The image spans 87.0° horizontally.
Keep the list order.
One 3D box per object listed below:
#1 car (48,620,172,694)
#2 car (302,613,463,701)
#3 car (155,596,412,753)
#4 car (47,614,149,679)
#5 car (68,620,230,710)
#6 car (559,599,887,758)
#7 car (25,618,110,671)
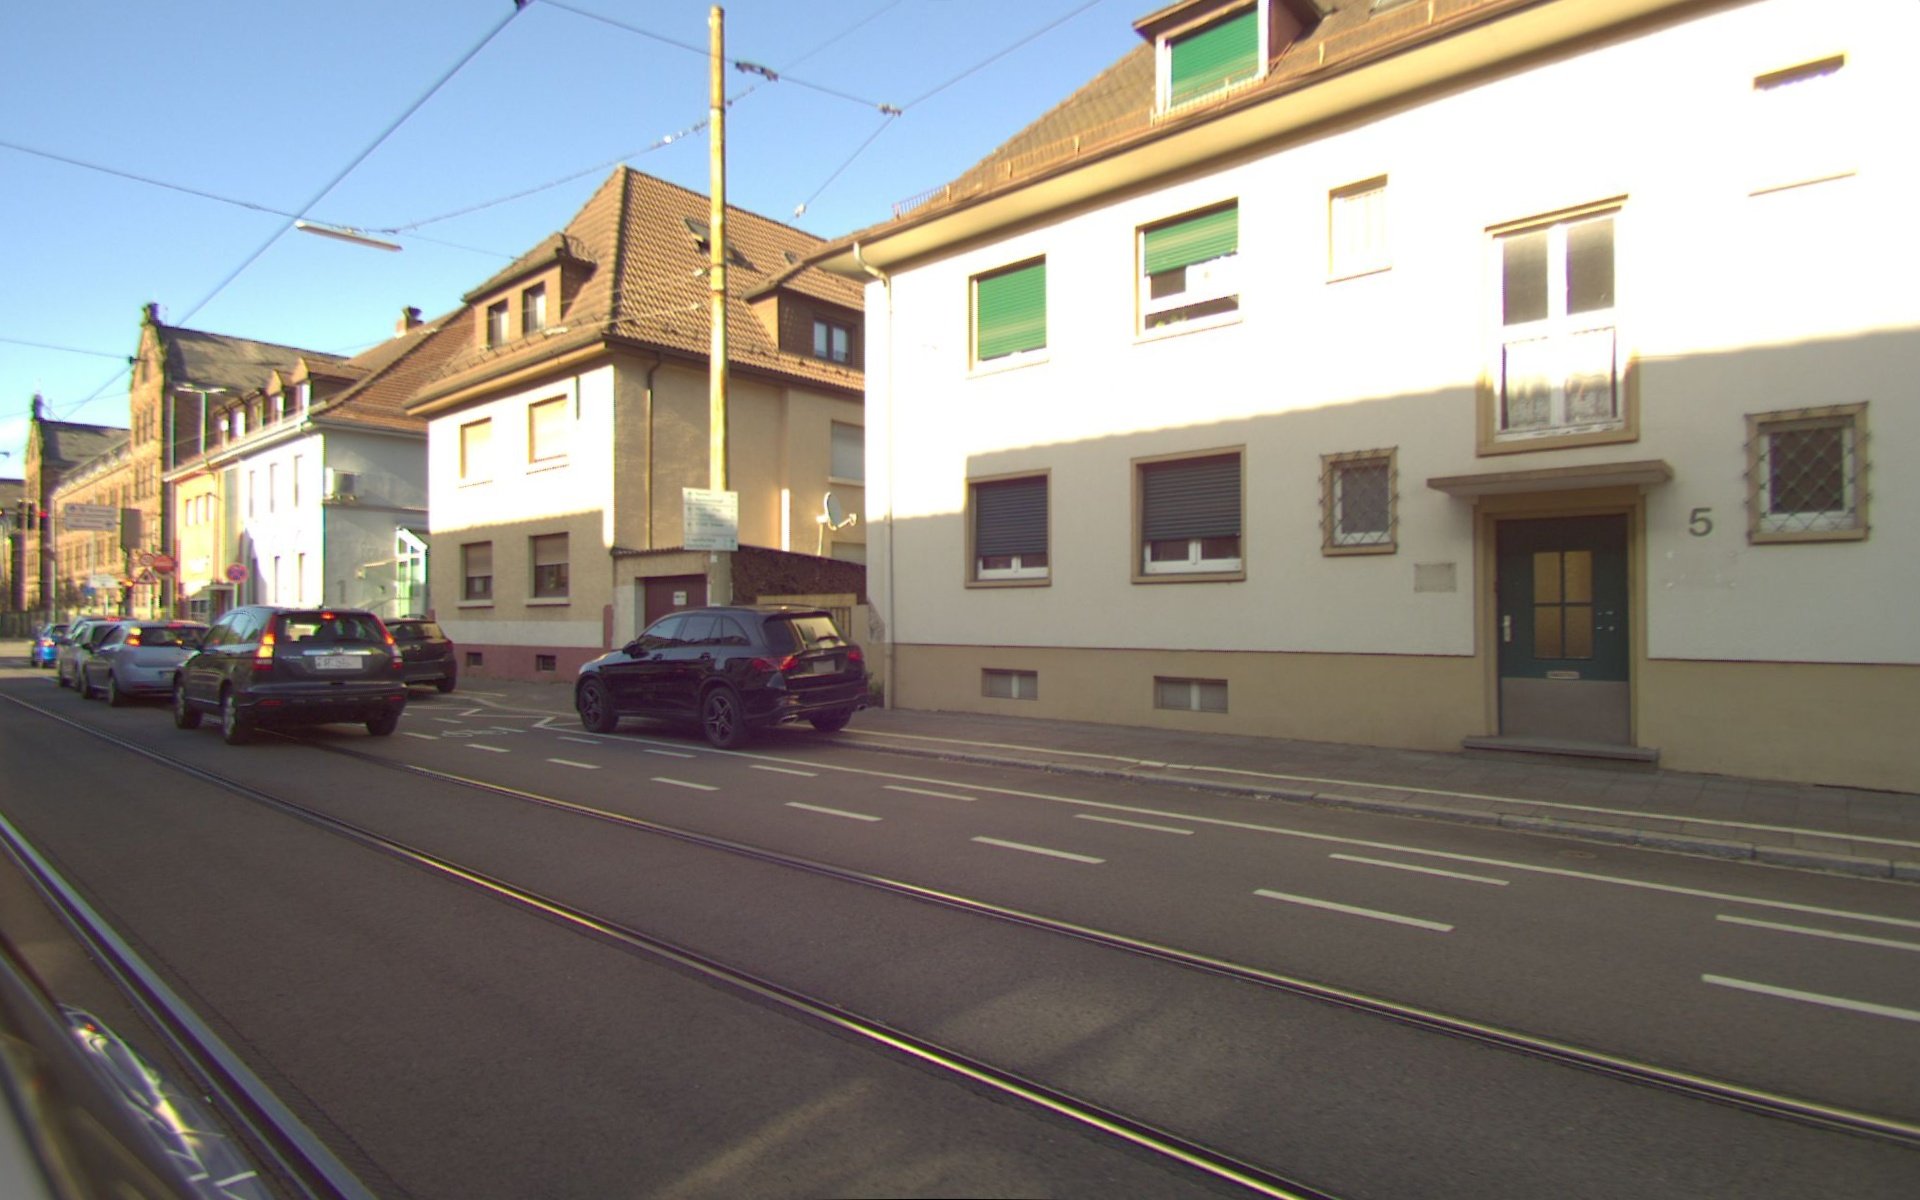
[{"bbox_3d":[-18.587,1.197,22.074,3.613,1.472,1.565,-1,-3,42],"label":"car"},{"bbox_3d":[-11.933,1.119,20.834,3.918,1.640,1.599,-1,-3,40],"label":"car"},{"bbox_3d":[-8.940,0.879,13.229,4.362,1.718,1.686,-1,-3,41],"label":"car"},{"bbox_3d":[-23.646,1.243,27.704,1.718,1.623,4.717,3,-3,-45],"label":"car"},{"bbox_3d":[-14.908,1.115,18.530,4.073,1.472,1.600,-1,-3,41],"label":"car"},{"bbox_3d":[-3.179,0.905,13.047,4.552,1.718,1.744,-1,-3,40],"label":"car"},{"bbox_3d":[-28.367,1.418,32.142,3.930,1.579,1.665,-2,-4,44],"label":"car"}]
